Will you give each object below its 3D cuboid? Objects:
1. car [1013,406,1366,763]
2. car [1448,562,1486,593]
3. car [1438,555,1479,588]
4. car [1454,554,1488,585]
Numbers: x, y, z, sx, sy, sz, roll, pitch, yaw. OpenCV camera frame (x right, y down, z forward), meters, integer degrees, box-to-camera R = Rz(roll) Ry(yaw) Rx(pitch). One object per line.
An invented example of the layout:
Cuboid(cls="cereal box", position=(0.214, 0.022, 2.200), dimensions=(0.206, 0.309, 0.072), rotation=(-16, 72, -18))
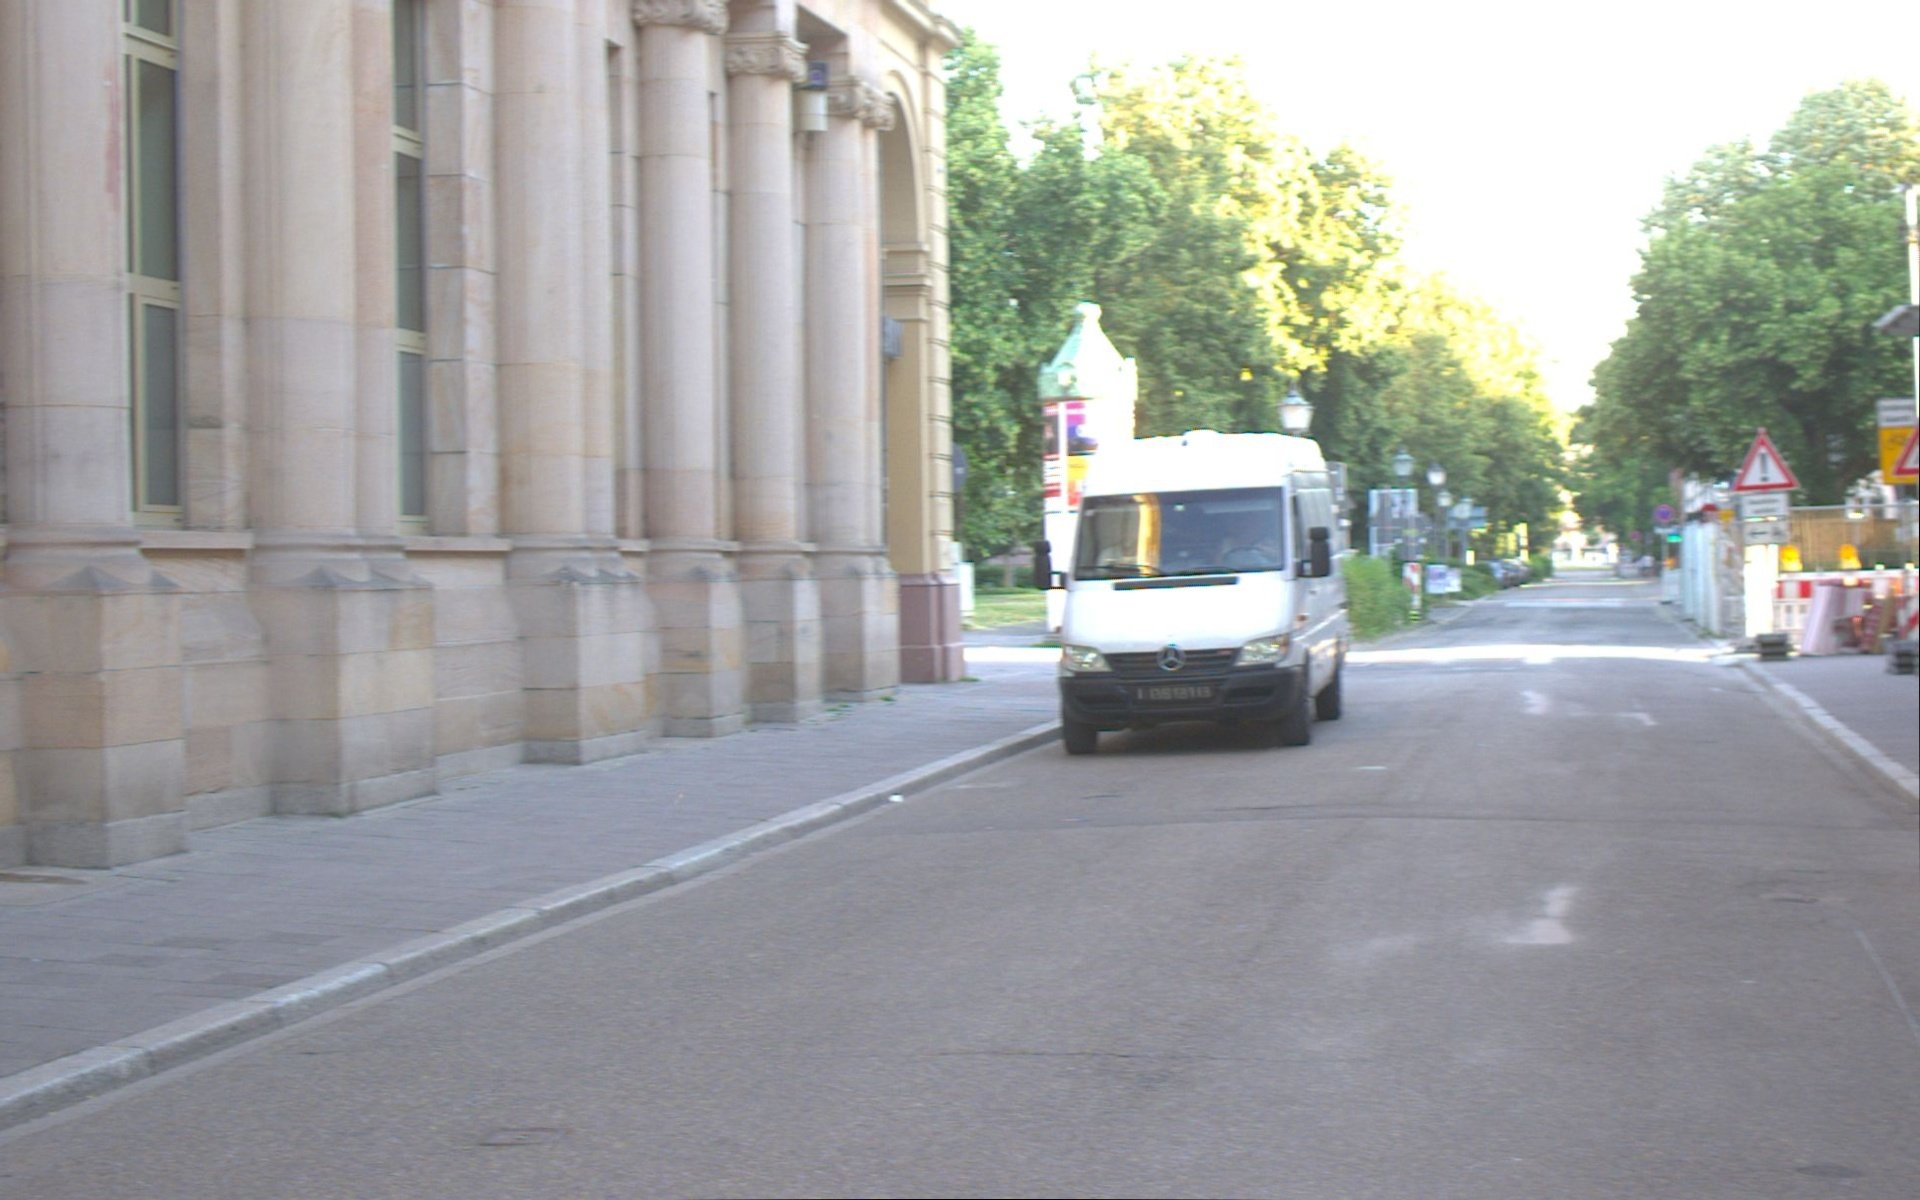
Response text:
Cuboid(cls="car", position=(2.066, -0.164, 28.647), dimensions=(1.996, 2.503, 6.467), rotation=(-4, 0, 11))
Cuboid(cls="car", position=(21.503, -0.957, 145.755), dimensions=(1.468, 1.251, 3.677), rotation=(0, 1, 10))
Cuboid(cls="car", position=(19.321, -1.101, 133.245), dimensions=(1.468, 1.251, 3.677), rotation=(0, 1, 10))
Cuboid(cls="car", position=(23.607, -1.431, 158.664), dimensions=(1.468, 1.399, 3.677), rotation=(0, 1, 10))
